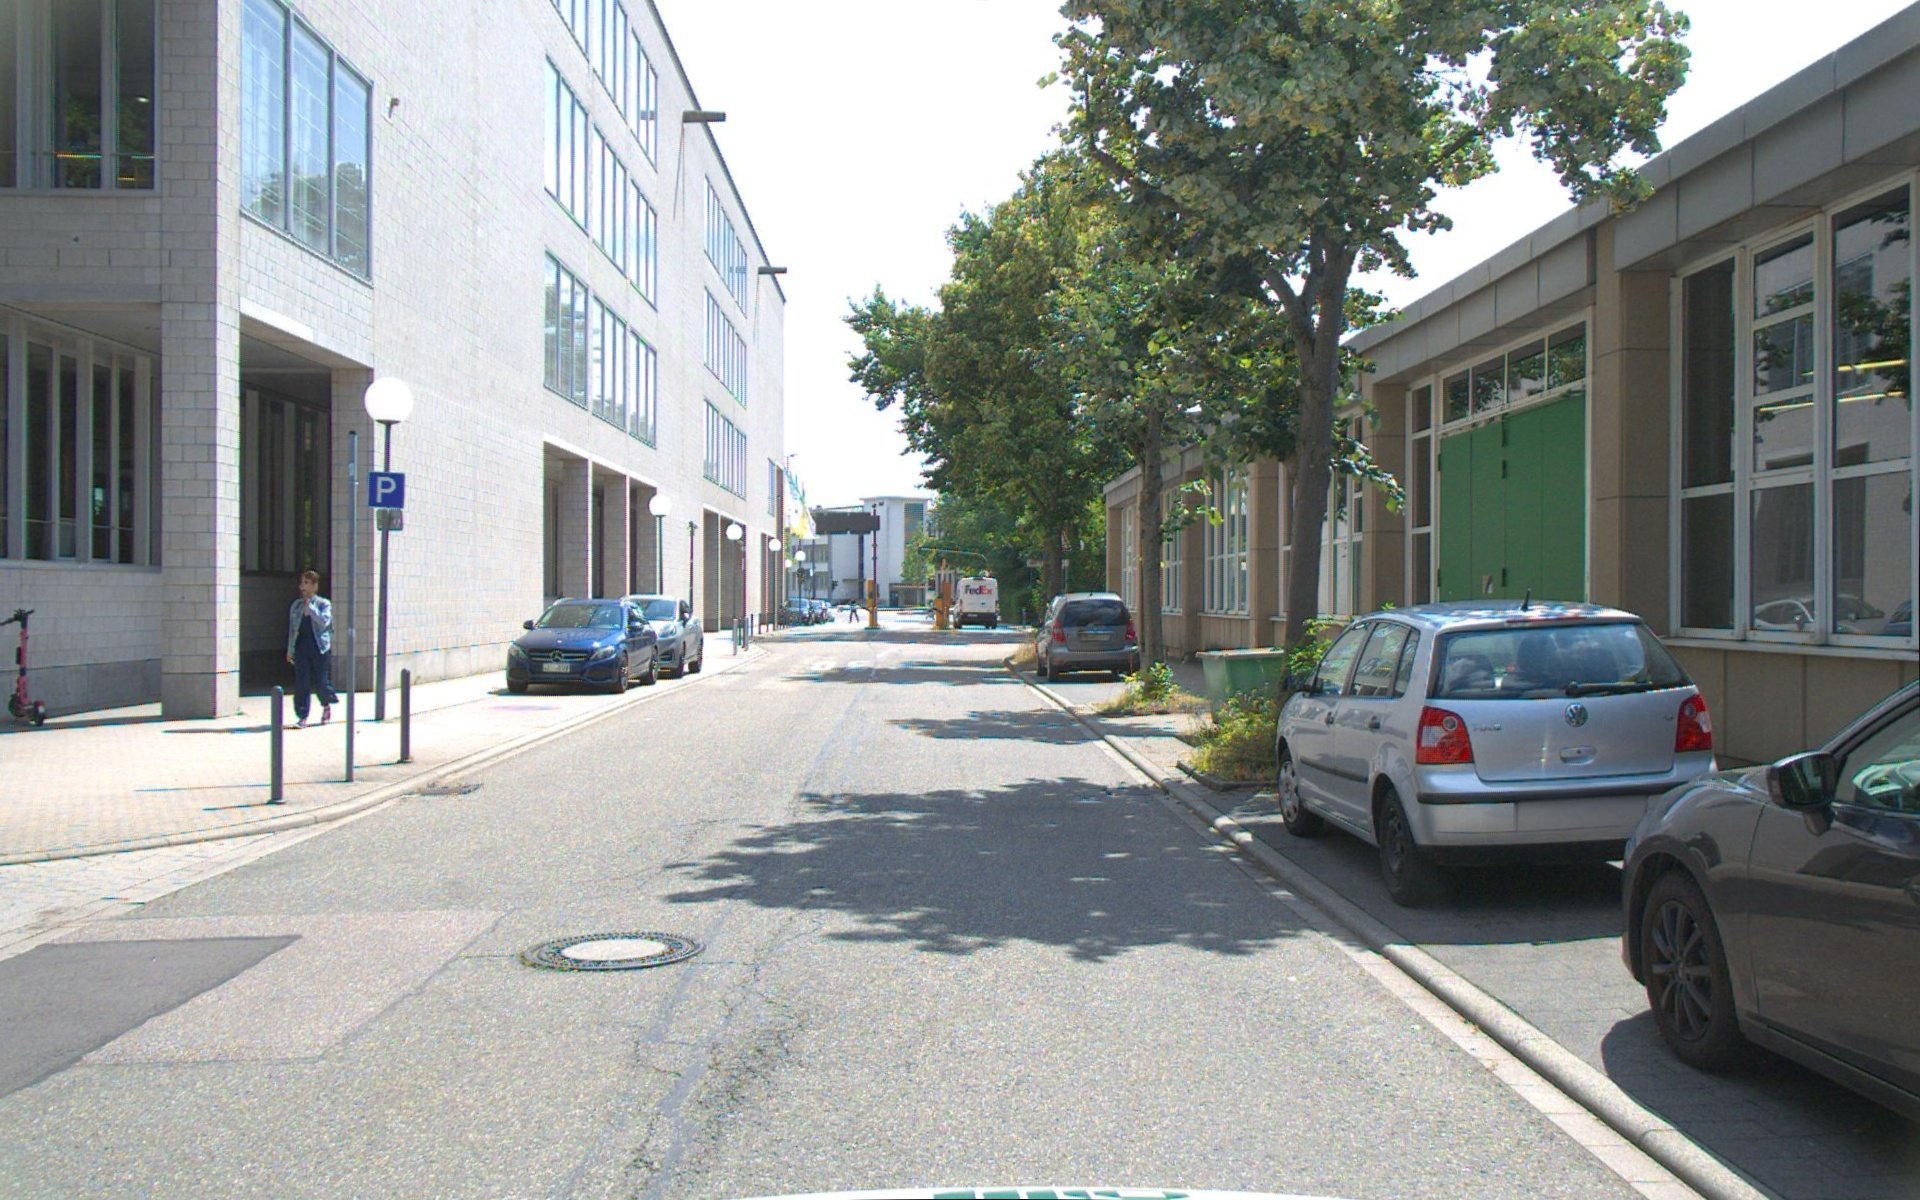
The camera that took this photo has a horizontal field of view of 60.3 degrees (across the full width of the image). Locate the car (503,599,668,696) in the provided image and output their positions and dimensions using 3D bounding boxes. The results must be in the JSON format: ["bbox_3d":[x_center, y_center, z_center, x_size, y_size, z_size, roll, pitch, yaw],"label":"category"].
[{"bbox_3d":[-6.053,0.736,27.210,1.730,1.452,4.234,0,0,0],"label":"car"}]

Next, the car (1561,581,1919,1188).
[{"bbox_3d":[3.251,0.694,4.144,1.745,1.502,4.460,-1,0,-2],"label":"car"}]

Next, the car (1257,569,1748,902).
[{"bbox_3d":[2.903,0.643,9.691,1.583,1.565,3.779,0,0,-1],"label":"car"}]

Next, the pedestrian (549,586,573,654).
[{"bbox_3d":[-11.117,0.561,46.054,0.501,1.873,0.734,0,-2,-2],"label":"pedestrian"}]

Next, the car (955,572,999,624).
[{"bbox_3d":[0.840,-0.111,84.834,2.041,2.584,4.314,1,0,-2],"label":"car"}]

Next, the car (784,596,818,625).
[{"bbox_3d":[-8.856,0.580,92.451,1.612,1.524,3.727,0,-2,-2],"label":"car"}]

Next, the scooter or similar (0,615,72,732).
[{"bbox_3d":[-10.275,0.785,18.306,0.521,1.231,1.536,0,0,-38],"label":"scooter or similar"}]

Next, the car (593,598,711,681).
[{"bbox_3d":[-5.991,0.740,32.622,1.598,1.511,4.177,0,0,-1],"label":"car"}]

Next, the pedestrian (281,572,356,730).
[{"bbox_3d":[-7.194,0.555,18.580,0.638,1.731,0.887,0,0,-12],"label":"pedestrian"}]

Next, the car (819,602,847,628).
[{"bbox_3d":[-8.011,0.952,104.347,1.612,1.524,3.727,0,-2,-2],"label":"car"}]

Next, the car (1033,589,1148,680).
[{"bbox_3d":[2.452,0.623,32.007,1.821,1.601,3.999,-1,0,-1],"label":"car"}]
